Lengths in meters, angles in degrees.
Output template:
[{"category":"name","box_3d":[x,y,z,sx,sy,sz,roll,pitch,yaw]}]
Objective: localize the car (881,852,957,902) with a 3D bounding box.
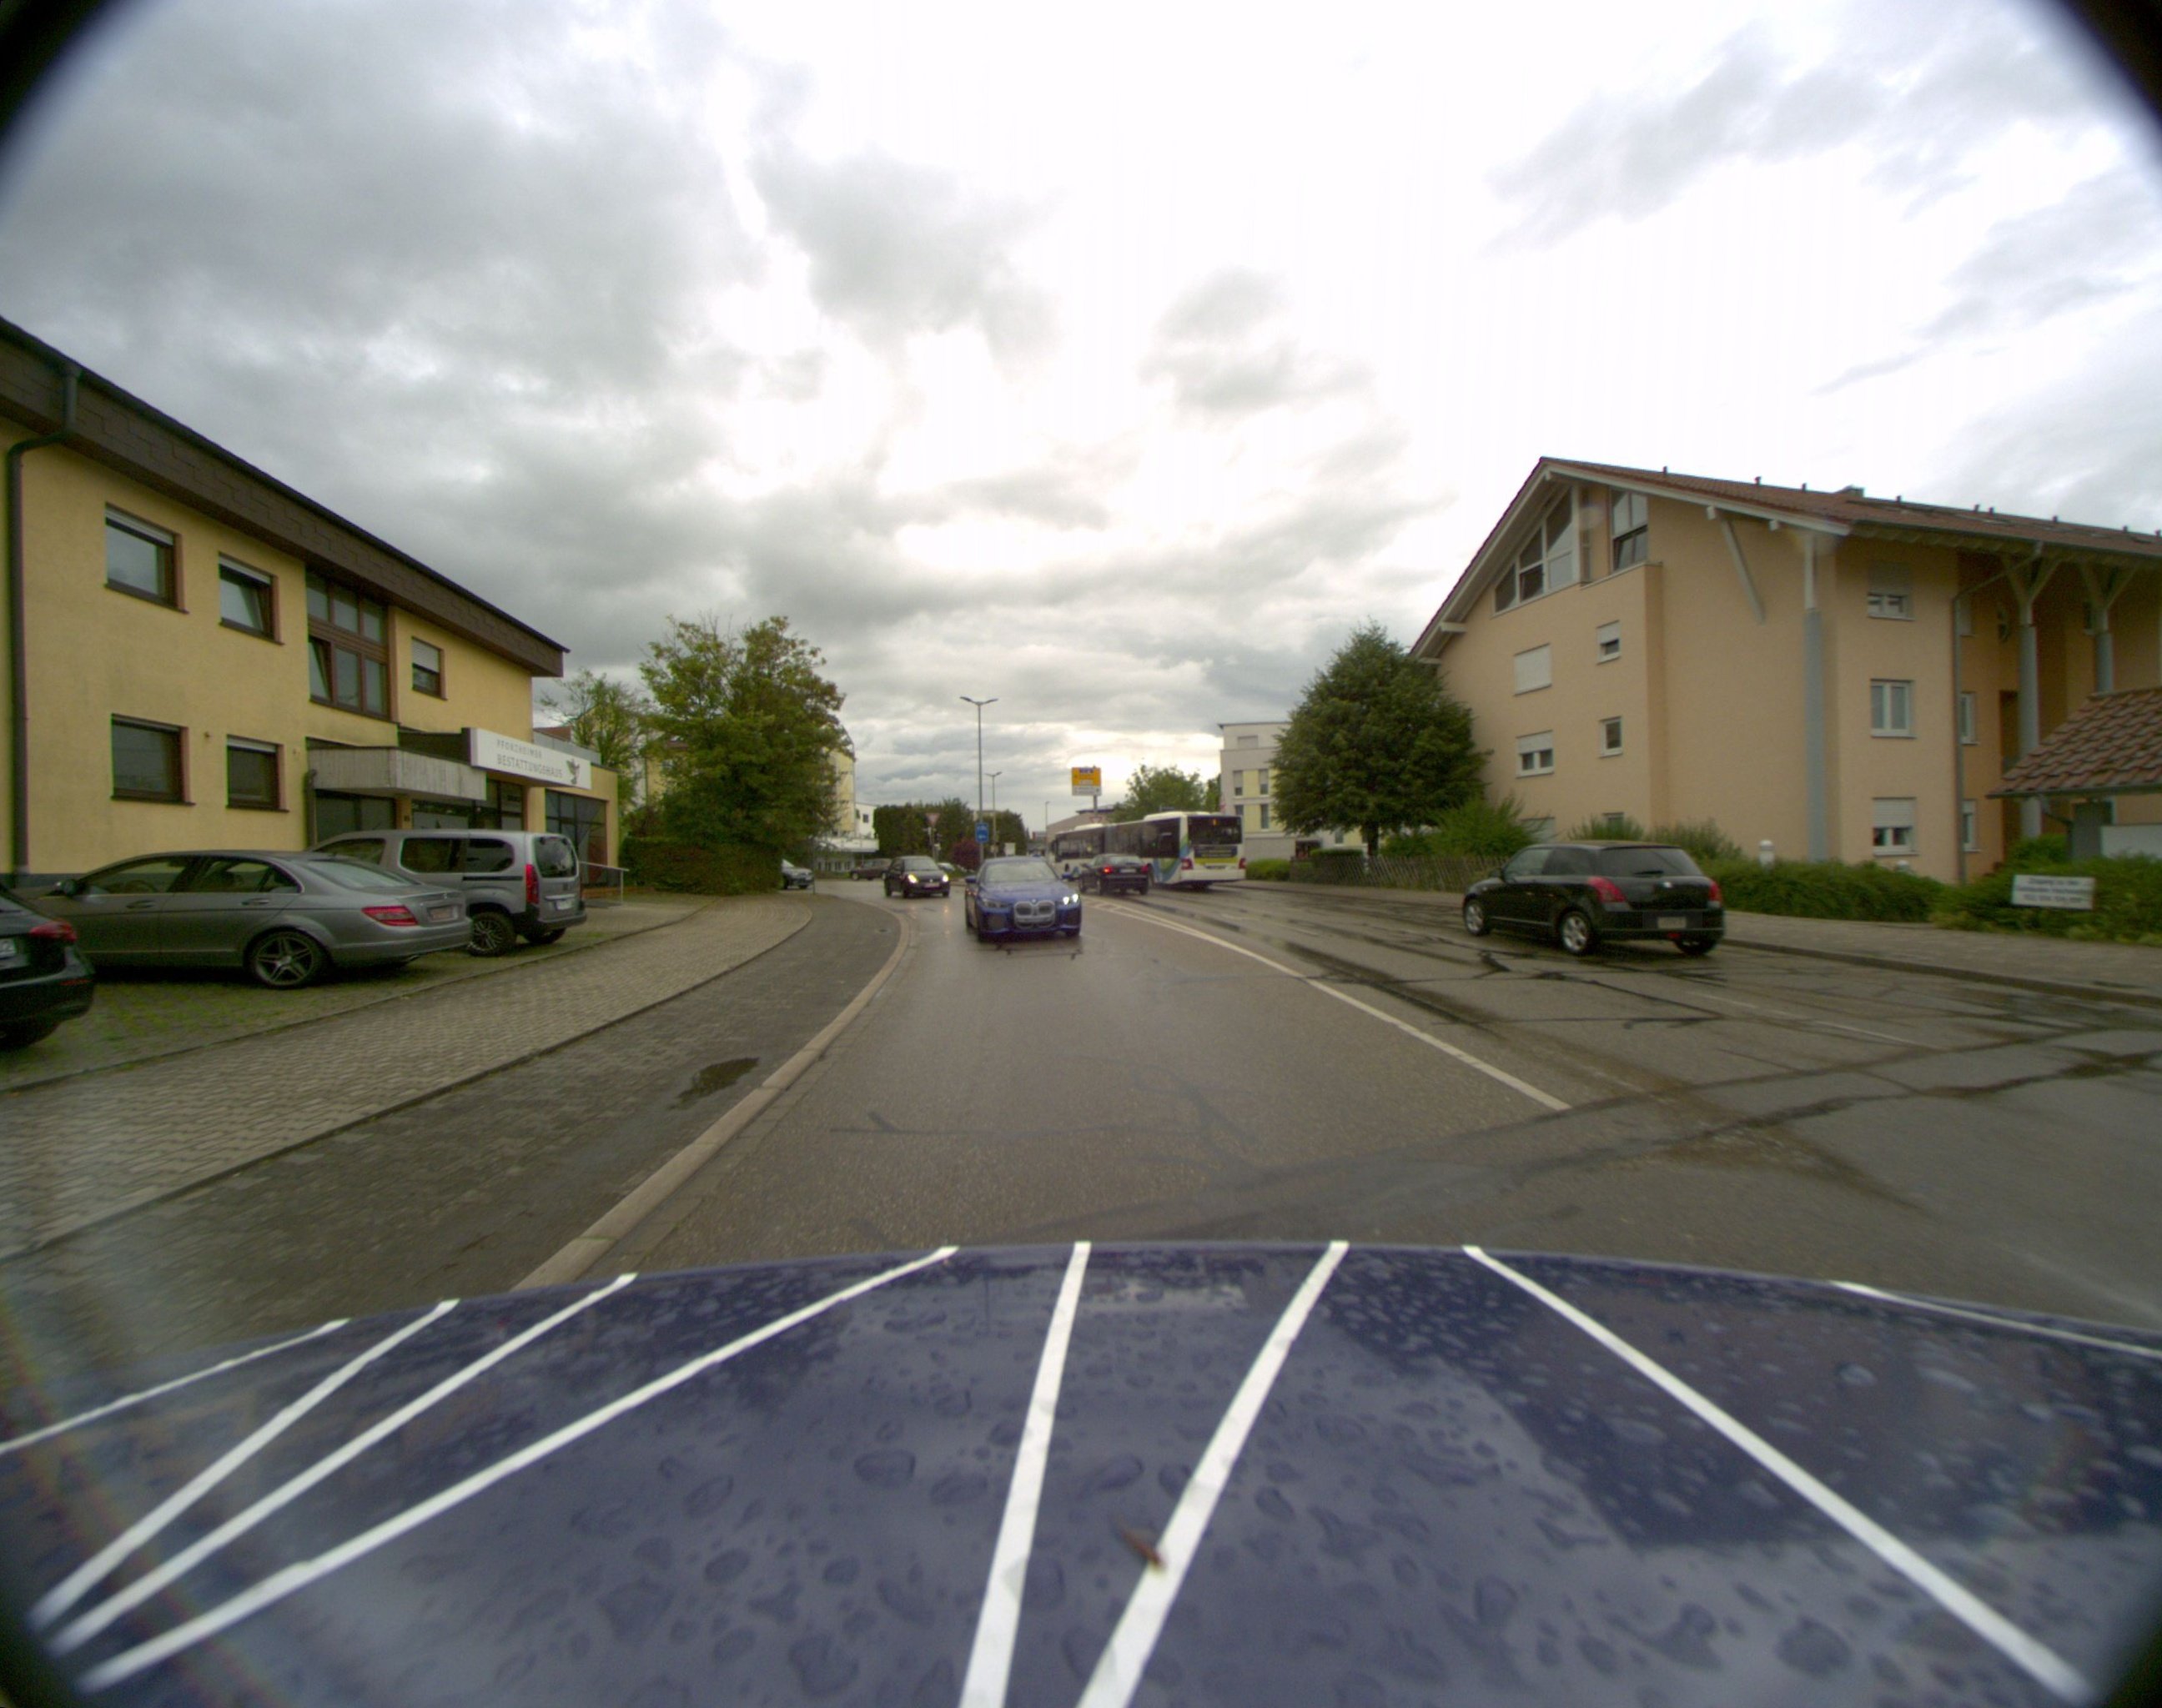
[{"category":"car","box_3d":[-6.138,0.790,28.521,1.749,1.511,3.990,-4,3,-27]}]

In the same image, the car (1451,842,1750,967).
[{"category":"car","box_3d":[6.962,0.585,10.707,1.592,1.414,3.694,-2,0,-2]}]

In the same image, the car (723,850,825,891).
[{"category":"car","box_3d":[-15.199,0.808,37.669,4.299,1.740,1.970,-2,3,16]}]

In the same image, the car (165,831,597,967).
[{"category":"car","box_3d":[-10.001,0.641,11.278,4.310,1.771,1.902,2,1,-13]}]

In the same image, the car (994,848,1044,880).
[{"category":"car","box_3d":[-3.541,0.520,42.824,1.958,1.511,4.166,-2,3,-17]}]

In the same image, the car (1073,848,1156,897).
[{"category":"car","box_3d":[1.098,0.580,27.169,1.866,1.509,4.287,-3,1,-12]}]

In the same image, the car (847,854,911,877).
[{"category":"car","box_3d":[-14.168,0.820,53.252,3.928,1.478,1.831,-1,1,21]}]

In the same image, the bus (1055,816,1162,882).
[{"category":"bus","box_3d":[1.140,-0.241,39.464,2.557,2.982,9.189,-1,0,-18]}]

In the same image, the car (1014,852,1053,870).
[{"category":"car","box_3d":[-4.616,0.700,74.050,1.995,1.630,4.007,-1,1,27]}]

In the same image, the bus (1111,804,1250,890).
[{"category":"bus","box_3d":[3.726,-0.262,31.008,2.595,2.983,8.393,0,0,-15]}]

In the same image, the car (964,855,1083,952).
[{"category":"car","box_3d":[-1.248,0.818,14.803,1.914,1.487,4.345,-2,1,-8]}]

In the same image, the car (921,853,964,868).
[{"category":"car","box_3d":[-14.523,0.687,79.780,3.989,1.456,2.003,-1,1,30]}]

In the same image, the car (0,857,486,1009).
[{"category":"car","box_3d":[-9.594,0.821,8.437,4.377,1.415,1.693,2,1,-13]}]

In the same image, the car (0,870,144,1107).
[{"category":"car","box_3d":[-8.985,0.833,4.519,4.057,1.481,1.903,2,1,-9]}]
